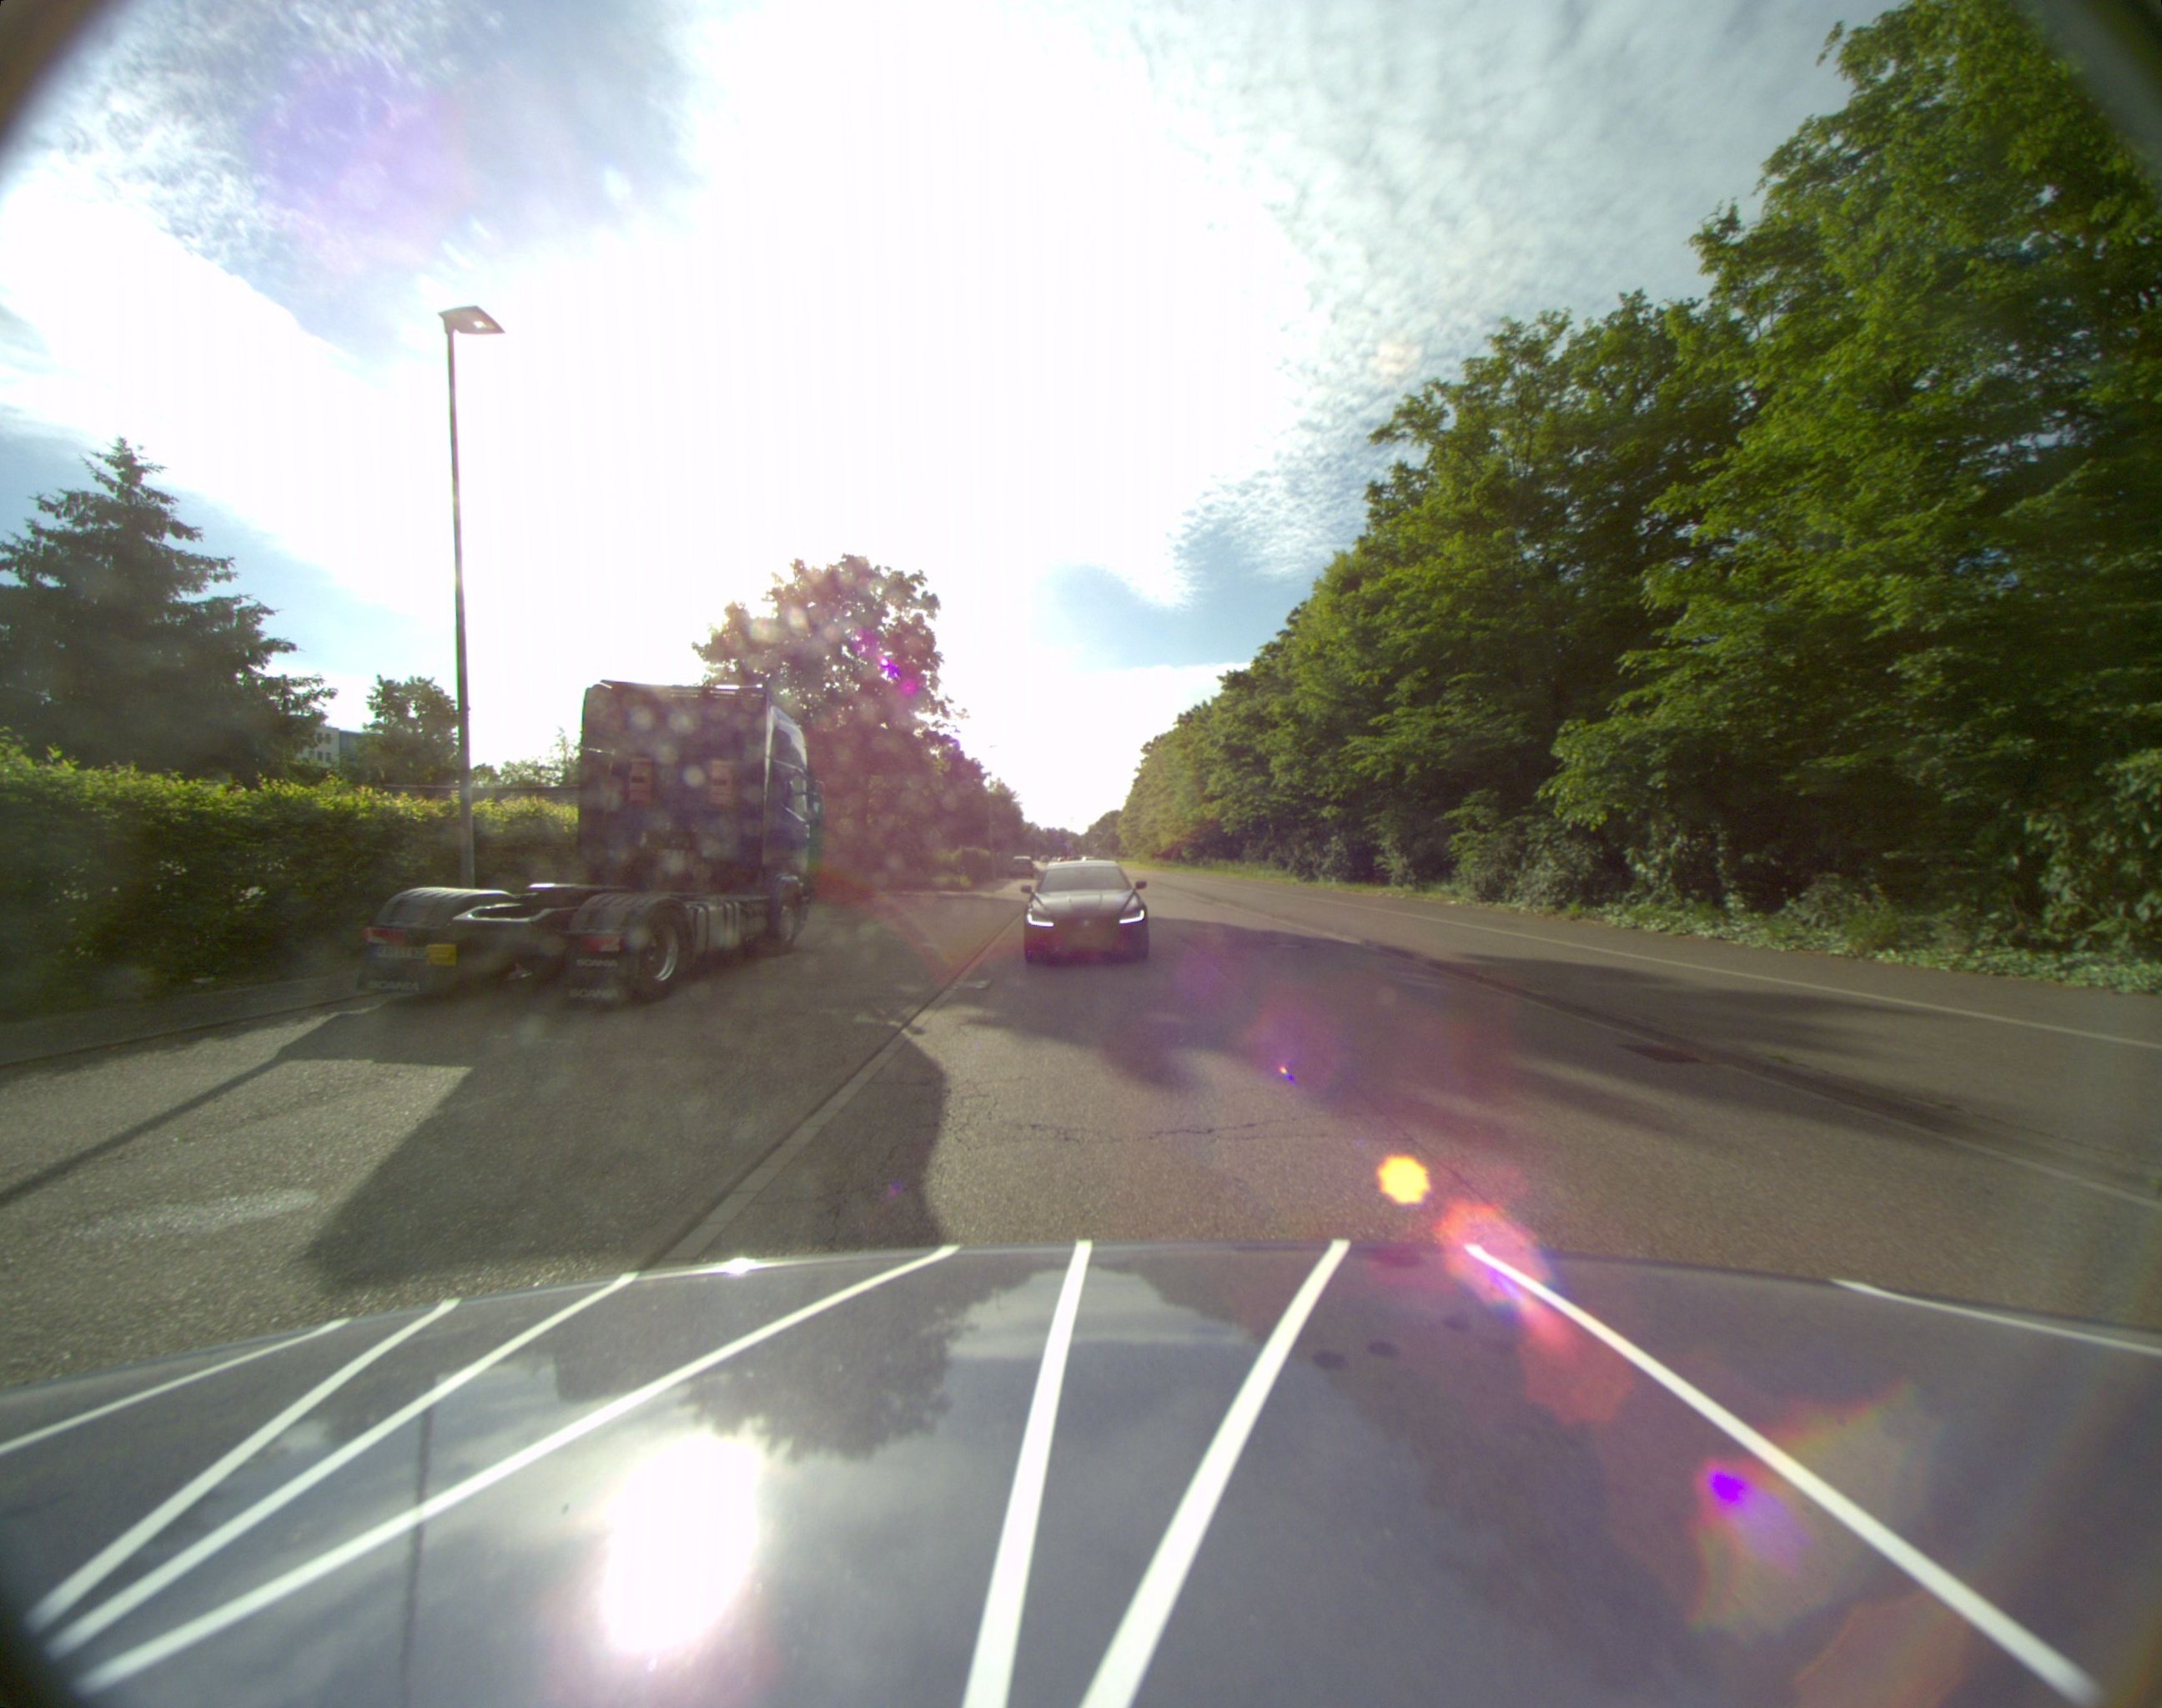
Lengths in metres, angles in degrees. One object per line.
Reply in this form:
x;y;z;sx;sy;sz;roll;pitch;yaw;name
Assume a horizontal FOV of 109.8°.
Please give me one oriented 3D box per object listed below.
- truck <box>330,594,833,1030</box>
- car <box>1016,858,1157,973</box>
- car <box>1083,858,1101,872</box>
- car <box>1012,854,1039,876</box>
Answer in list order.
-5.632;-0.370;10.158;2.602;3.935;6.282;2;0;-2;truck
0.104;0.870;12.965;1.936;1.501;4.679;-2;0;1;car
1.099;1.089;78.605;1.751;1.380;3.861;1;0;-1;car
-4.086;0.802;56.343;1.751;1.561;3.861;1;0;-1;car
